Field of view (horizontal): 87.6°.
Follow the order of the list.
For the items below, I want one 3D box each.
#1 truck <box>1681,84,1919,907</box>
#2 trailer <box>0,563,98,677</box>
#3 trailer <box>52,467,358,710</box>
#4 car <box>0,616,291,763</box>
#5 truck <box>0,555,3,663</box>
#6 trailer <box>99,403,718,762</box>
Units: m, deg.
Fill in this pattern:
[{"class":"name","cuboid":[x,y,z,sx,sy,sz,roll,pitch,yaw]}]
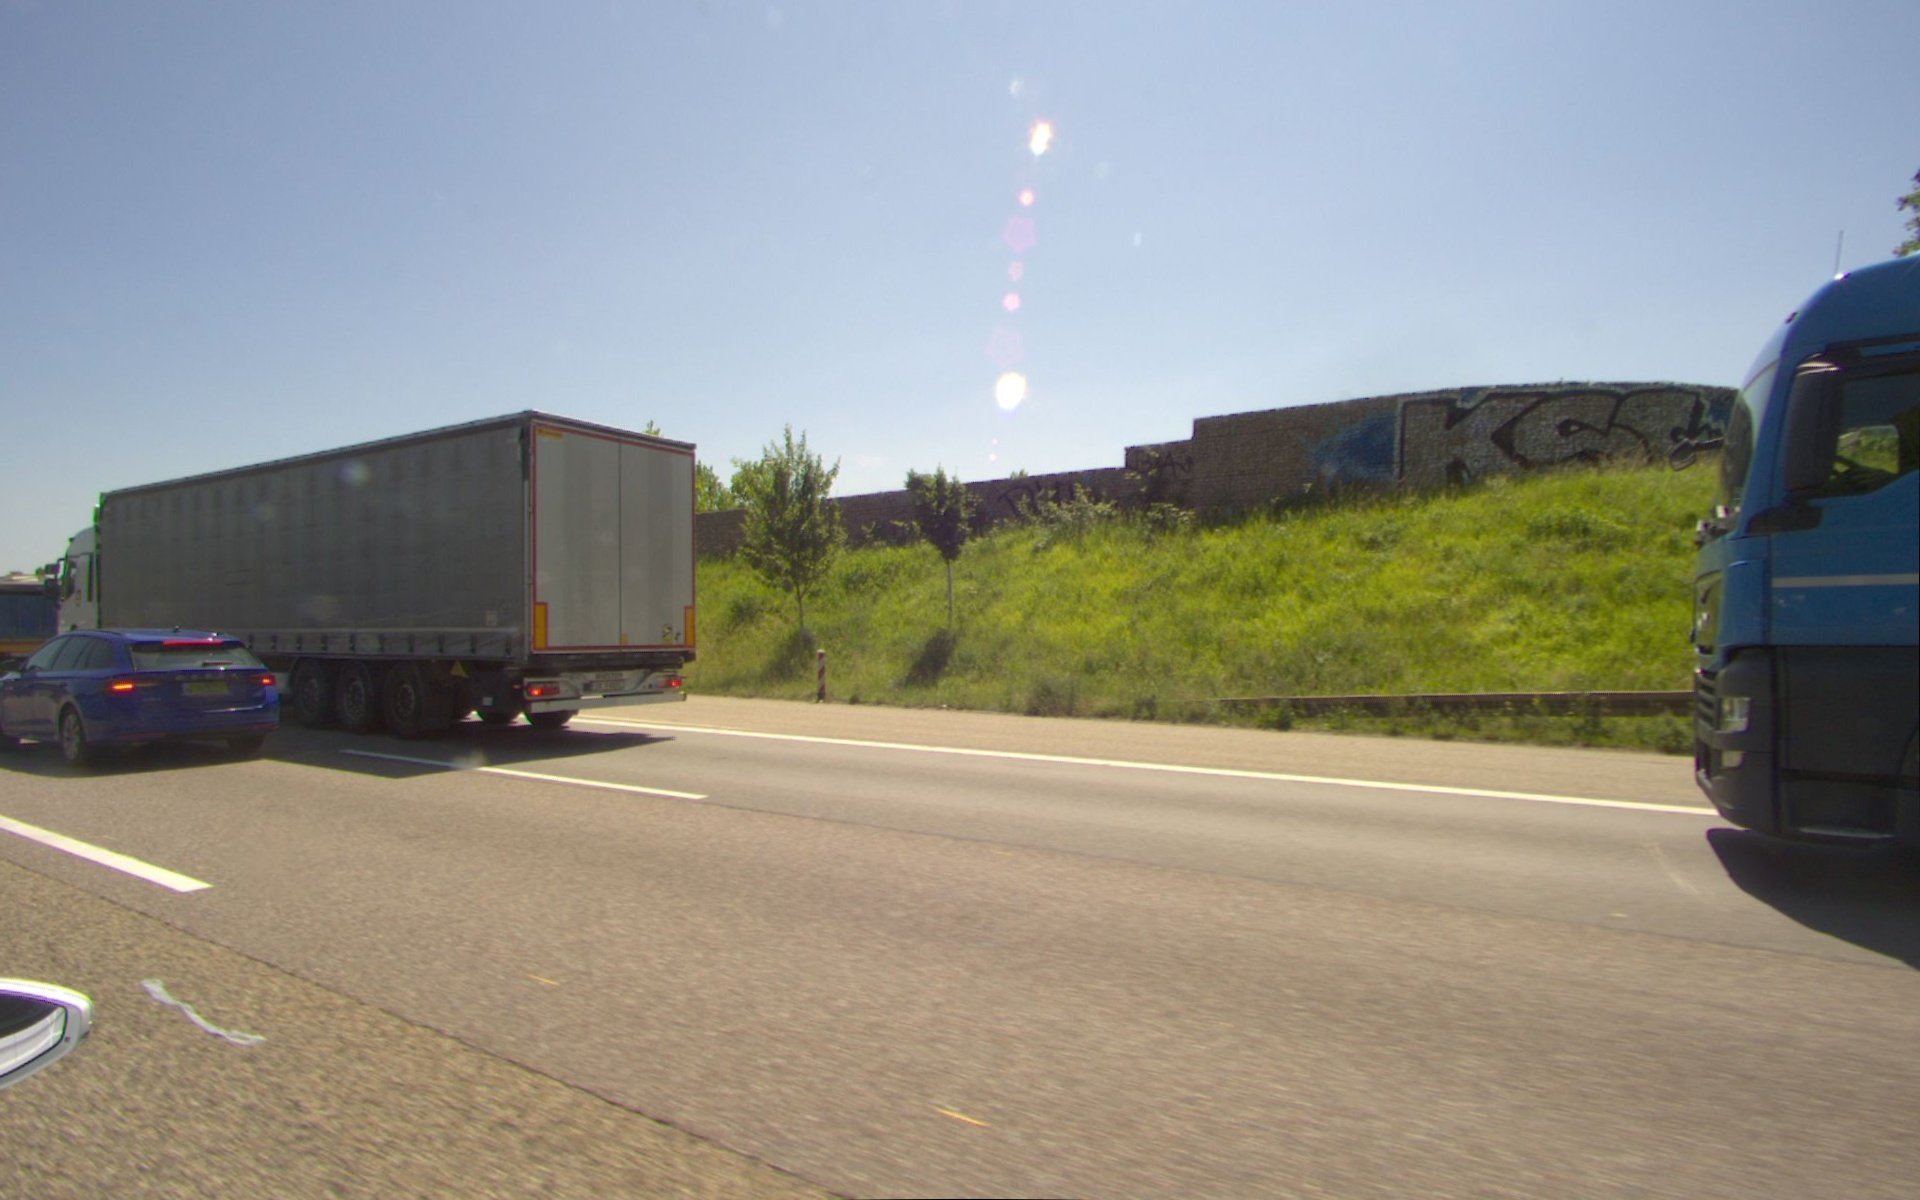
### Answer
[{"class":"truck","cuboid":[9.036,-0.515,3.993,9.811,4.162,2.760,0,-1,33]},{"class":"trailer","cuboid":[-27.505,0.515,28.044,8.987,2.873,2.738,0,-1,33]},{"class":"trailer","cuboid":[-15.085,-0.136,19.895,6.321,4.096,2.918,0,-1,33]},{"class":"car","cuboid":[-9.905,0.970,11.904,4.367,1.459,1.703,-2,-2,34]},{"class":"truck","cuboid":[-33.606,0.232,32.069,7.032,3.354,2.738,0,-1,33]},{"class":"trailer","cuboid":[-9.805,-0.080,16.407,13.560,4.102,2.956,-1,-1,33]}]
